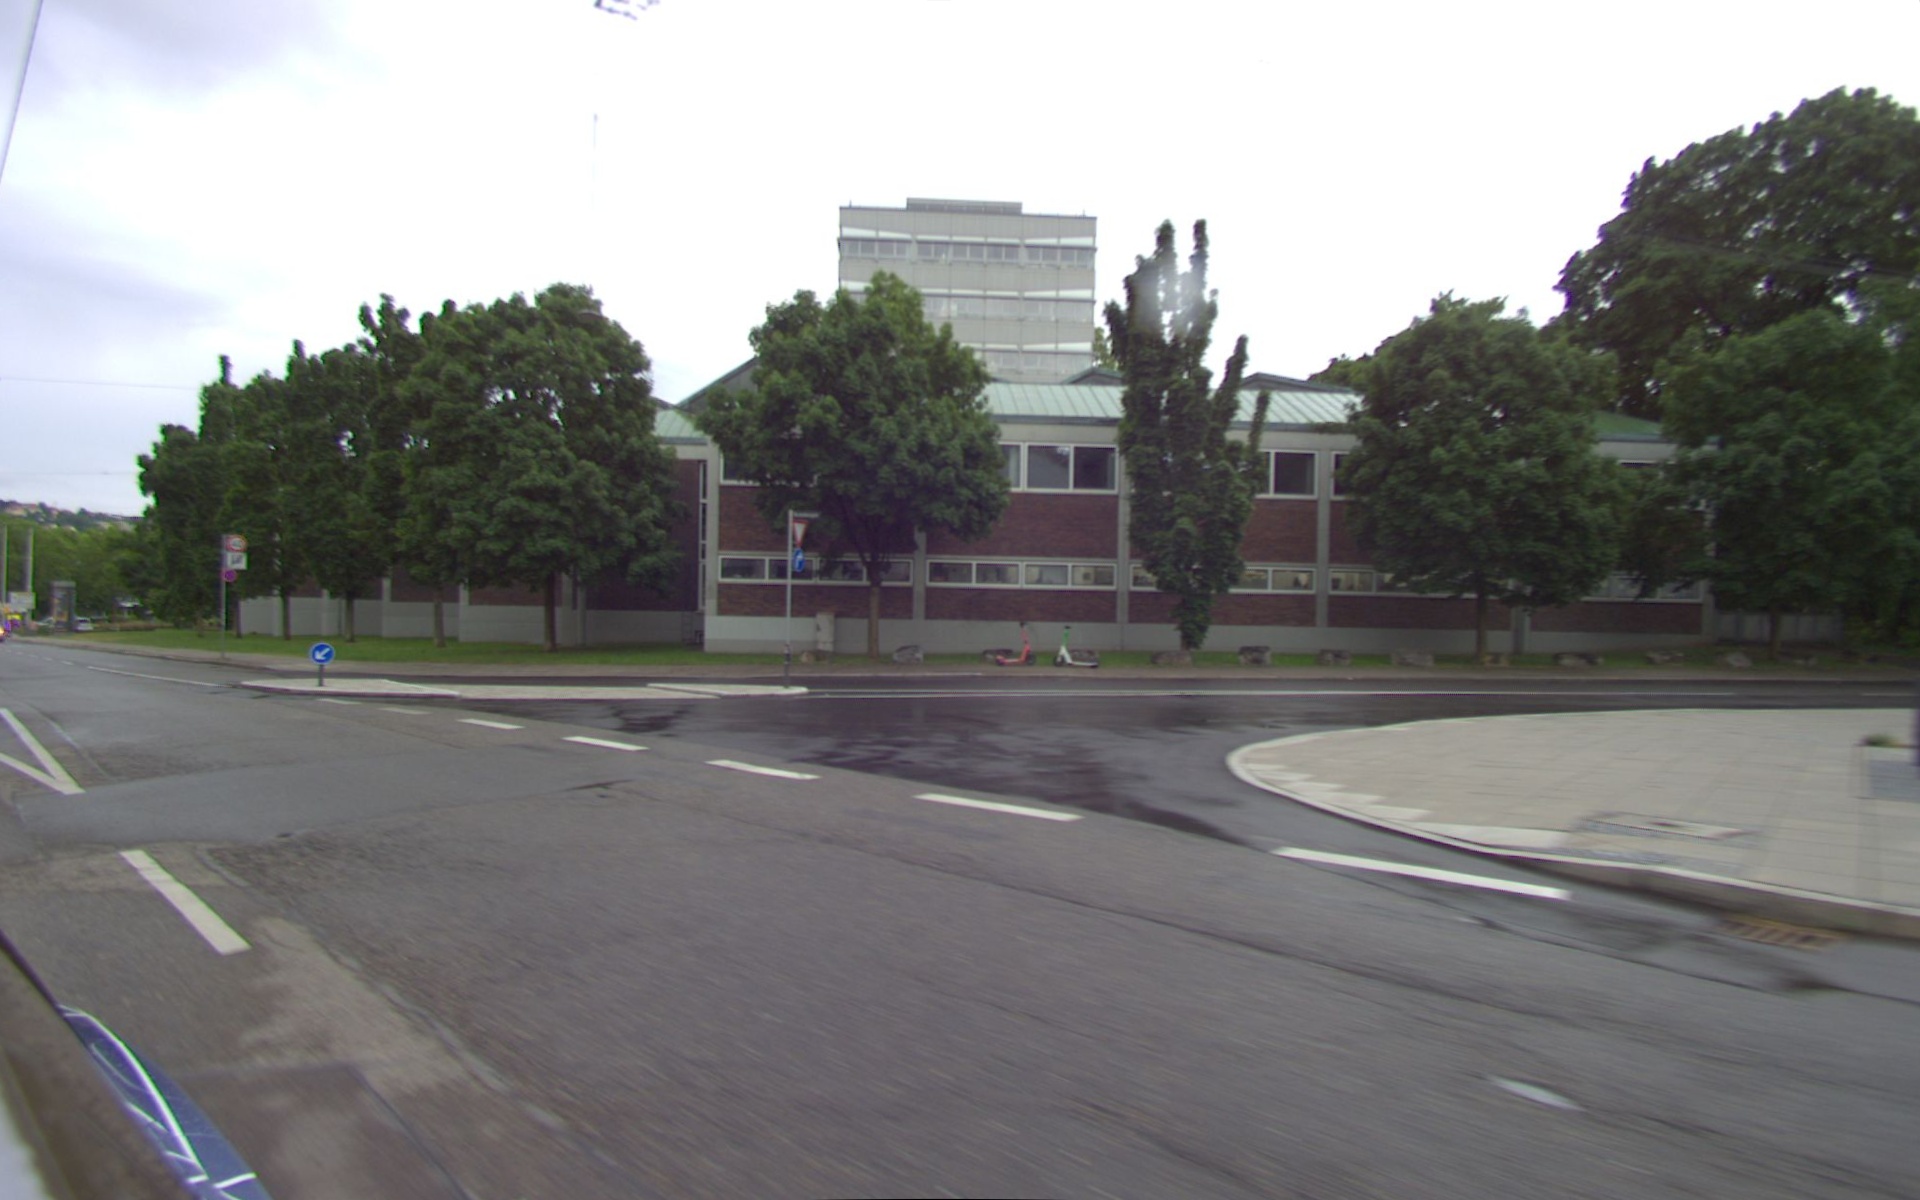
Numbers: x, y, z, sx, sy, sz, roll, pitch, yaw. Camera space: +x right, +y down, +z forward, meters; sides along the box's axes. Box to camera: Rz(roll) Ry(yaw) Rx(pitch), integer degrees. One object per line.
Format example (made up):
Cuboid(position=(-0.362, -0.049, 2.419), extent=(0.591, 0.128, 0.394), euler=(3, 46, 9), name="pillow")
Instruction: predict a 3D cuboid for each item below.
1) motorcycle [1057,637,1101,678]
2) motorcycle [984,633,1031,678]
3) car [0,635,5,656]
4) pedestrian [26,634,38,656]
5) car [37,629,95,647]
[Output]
Cuboid(position=(3.317, 1.600, 28.224), extent=(1.151, 1.133, 0.414), euler=(0, 0, -10), name="motorcycle")
Cuboid(position=(1.309, 1.522, 28.066), extent=(1.207, 1.194, 0.414), euler=(-1, 0, -10), name="motorcycle")
Cuboid(position=(-74.179, 3.452, 77.089), extent=(1.860, 1.502, 5.222), euler=(3, -4, -45), name="car")
Cuboid(position=(-73.048, 3.508, 79.663), extent=(0.662, 1.699, 0.915), euler=(-1, 0, -40), name="pedestrian")
Cuboid(position=(-89.040, 3.801, 100.801), extent=(4.475, 1.621, 1.864), euler=(-1, 0, 9), name="car")
